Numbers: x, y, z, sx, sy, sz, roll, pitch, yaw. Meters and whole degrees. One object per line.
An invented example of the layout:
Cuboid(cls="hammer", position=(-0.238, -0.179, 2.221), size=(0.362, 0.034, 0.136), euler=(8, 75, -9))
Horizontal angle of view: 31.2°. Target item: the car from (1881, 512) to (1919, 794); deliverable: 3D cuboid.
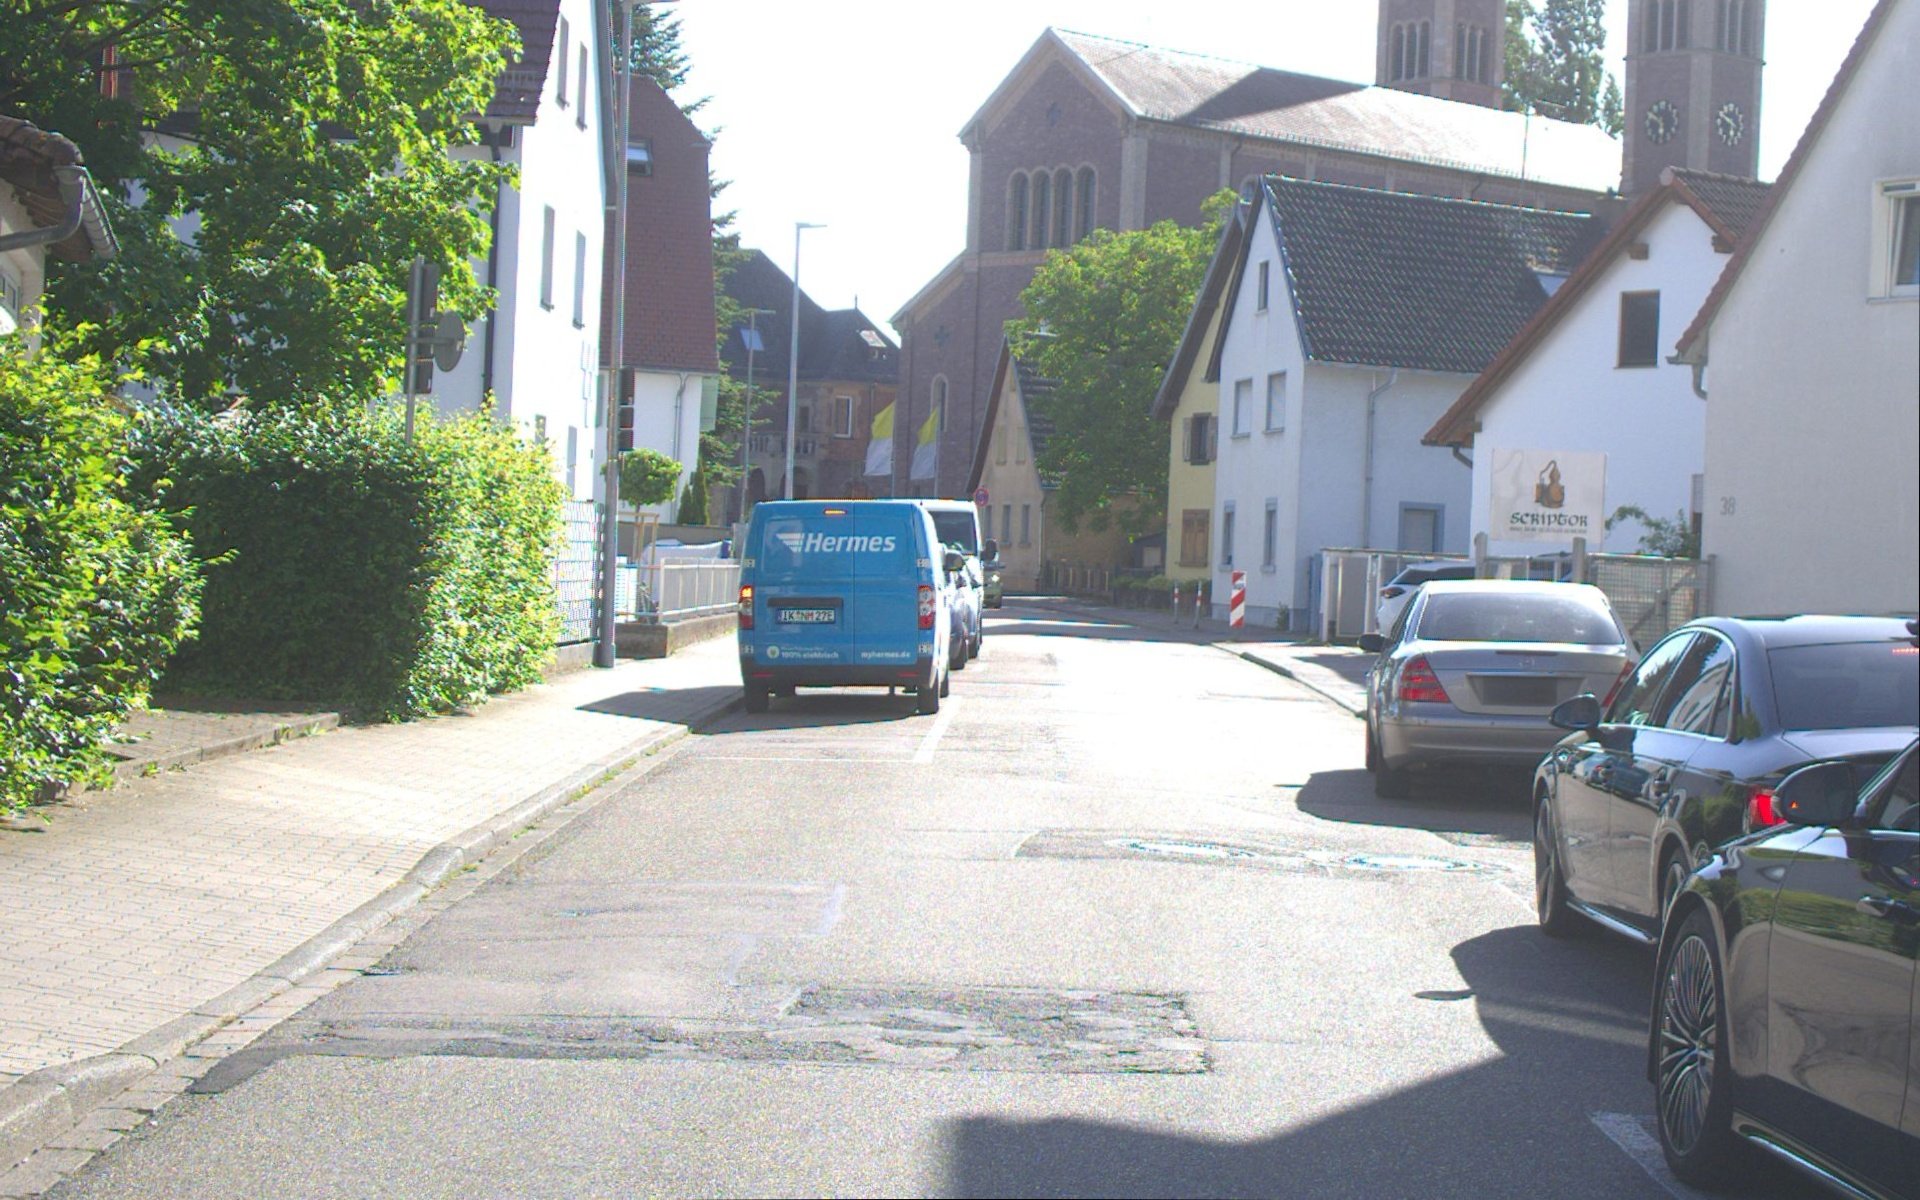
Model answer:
Cuboid(cls="car", position=(8.782, 0.369, 22.815), size=(4.761, 1.880, 1.909), euler=(0, 1, -6))

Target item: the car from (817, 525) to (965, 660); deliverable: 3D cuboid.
Cuboid(cls="car", position=(-0.836, -0.128, 43.945), size=(1.715, 1.593, 3.925), euler=(2, 1, 1))

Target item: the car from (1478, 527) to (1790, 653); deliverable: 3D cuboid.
Cuboid(cls="car", position=(9.746, -0.144, 49.707), size=(4.035, 1.682, 1.912), euler=(1, 1, -27))

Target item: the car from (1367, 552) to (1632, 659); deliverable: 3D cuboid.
Cuboid(cls="car", position=(8.311, 0.070, 52.962), size=(3.914, 1.487, 1.846), euler=(2, 1, 10))

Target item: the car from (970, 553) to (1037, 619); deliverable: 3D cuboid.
Cuboid(cls="car", position=(1.090, -0.355, 85.710), size=(1.574, 1.541, 2.965), euler=(2, 1, 1))

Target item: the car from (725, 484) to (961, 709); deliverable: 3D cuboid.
Cuboid(cls="car", position=(-1.020, -0.074, 32.435), size=(1.902, 1.911, 5.070), euler=(2, 1, 1))

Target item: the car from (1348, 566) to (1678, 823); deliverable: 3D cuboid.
Cuboid(cls="car", position=(3.686, 0.560, 23.636), size=(1.812, 1.470, 4.659), euler=(4, 1, 5))

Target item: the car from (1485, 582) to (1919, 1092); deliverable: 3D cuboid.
Cuboid(cls="car", position=(3.295, 0.760, 12.976), size=(1.808, 1.470, 4.844), euler=(4, 1, 0))

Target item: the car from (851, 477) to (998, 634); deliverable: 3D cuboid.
Cuboid(cls="car", position=(-0.506, -0.737, 55.676), size=(2.197, 2.382, 6.064), euler=(1, 1, 1))

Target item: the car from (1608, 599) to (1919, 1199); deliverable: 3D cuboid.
Cuboid(cls="car", position=(2.750, 0.811, 6.884), size=(1.808, 1.470, 4.844), euler=(4, 0, -1))
